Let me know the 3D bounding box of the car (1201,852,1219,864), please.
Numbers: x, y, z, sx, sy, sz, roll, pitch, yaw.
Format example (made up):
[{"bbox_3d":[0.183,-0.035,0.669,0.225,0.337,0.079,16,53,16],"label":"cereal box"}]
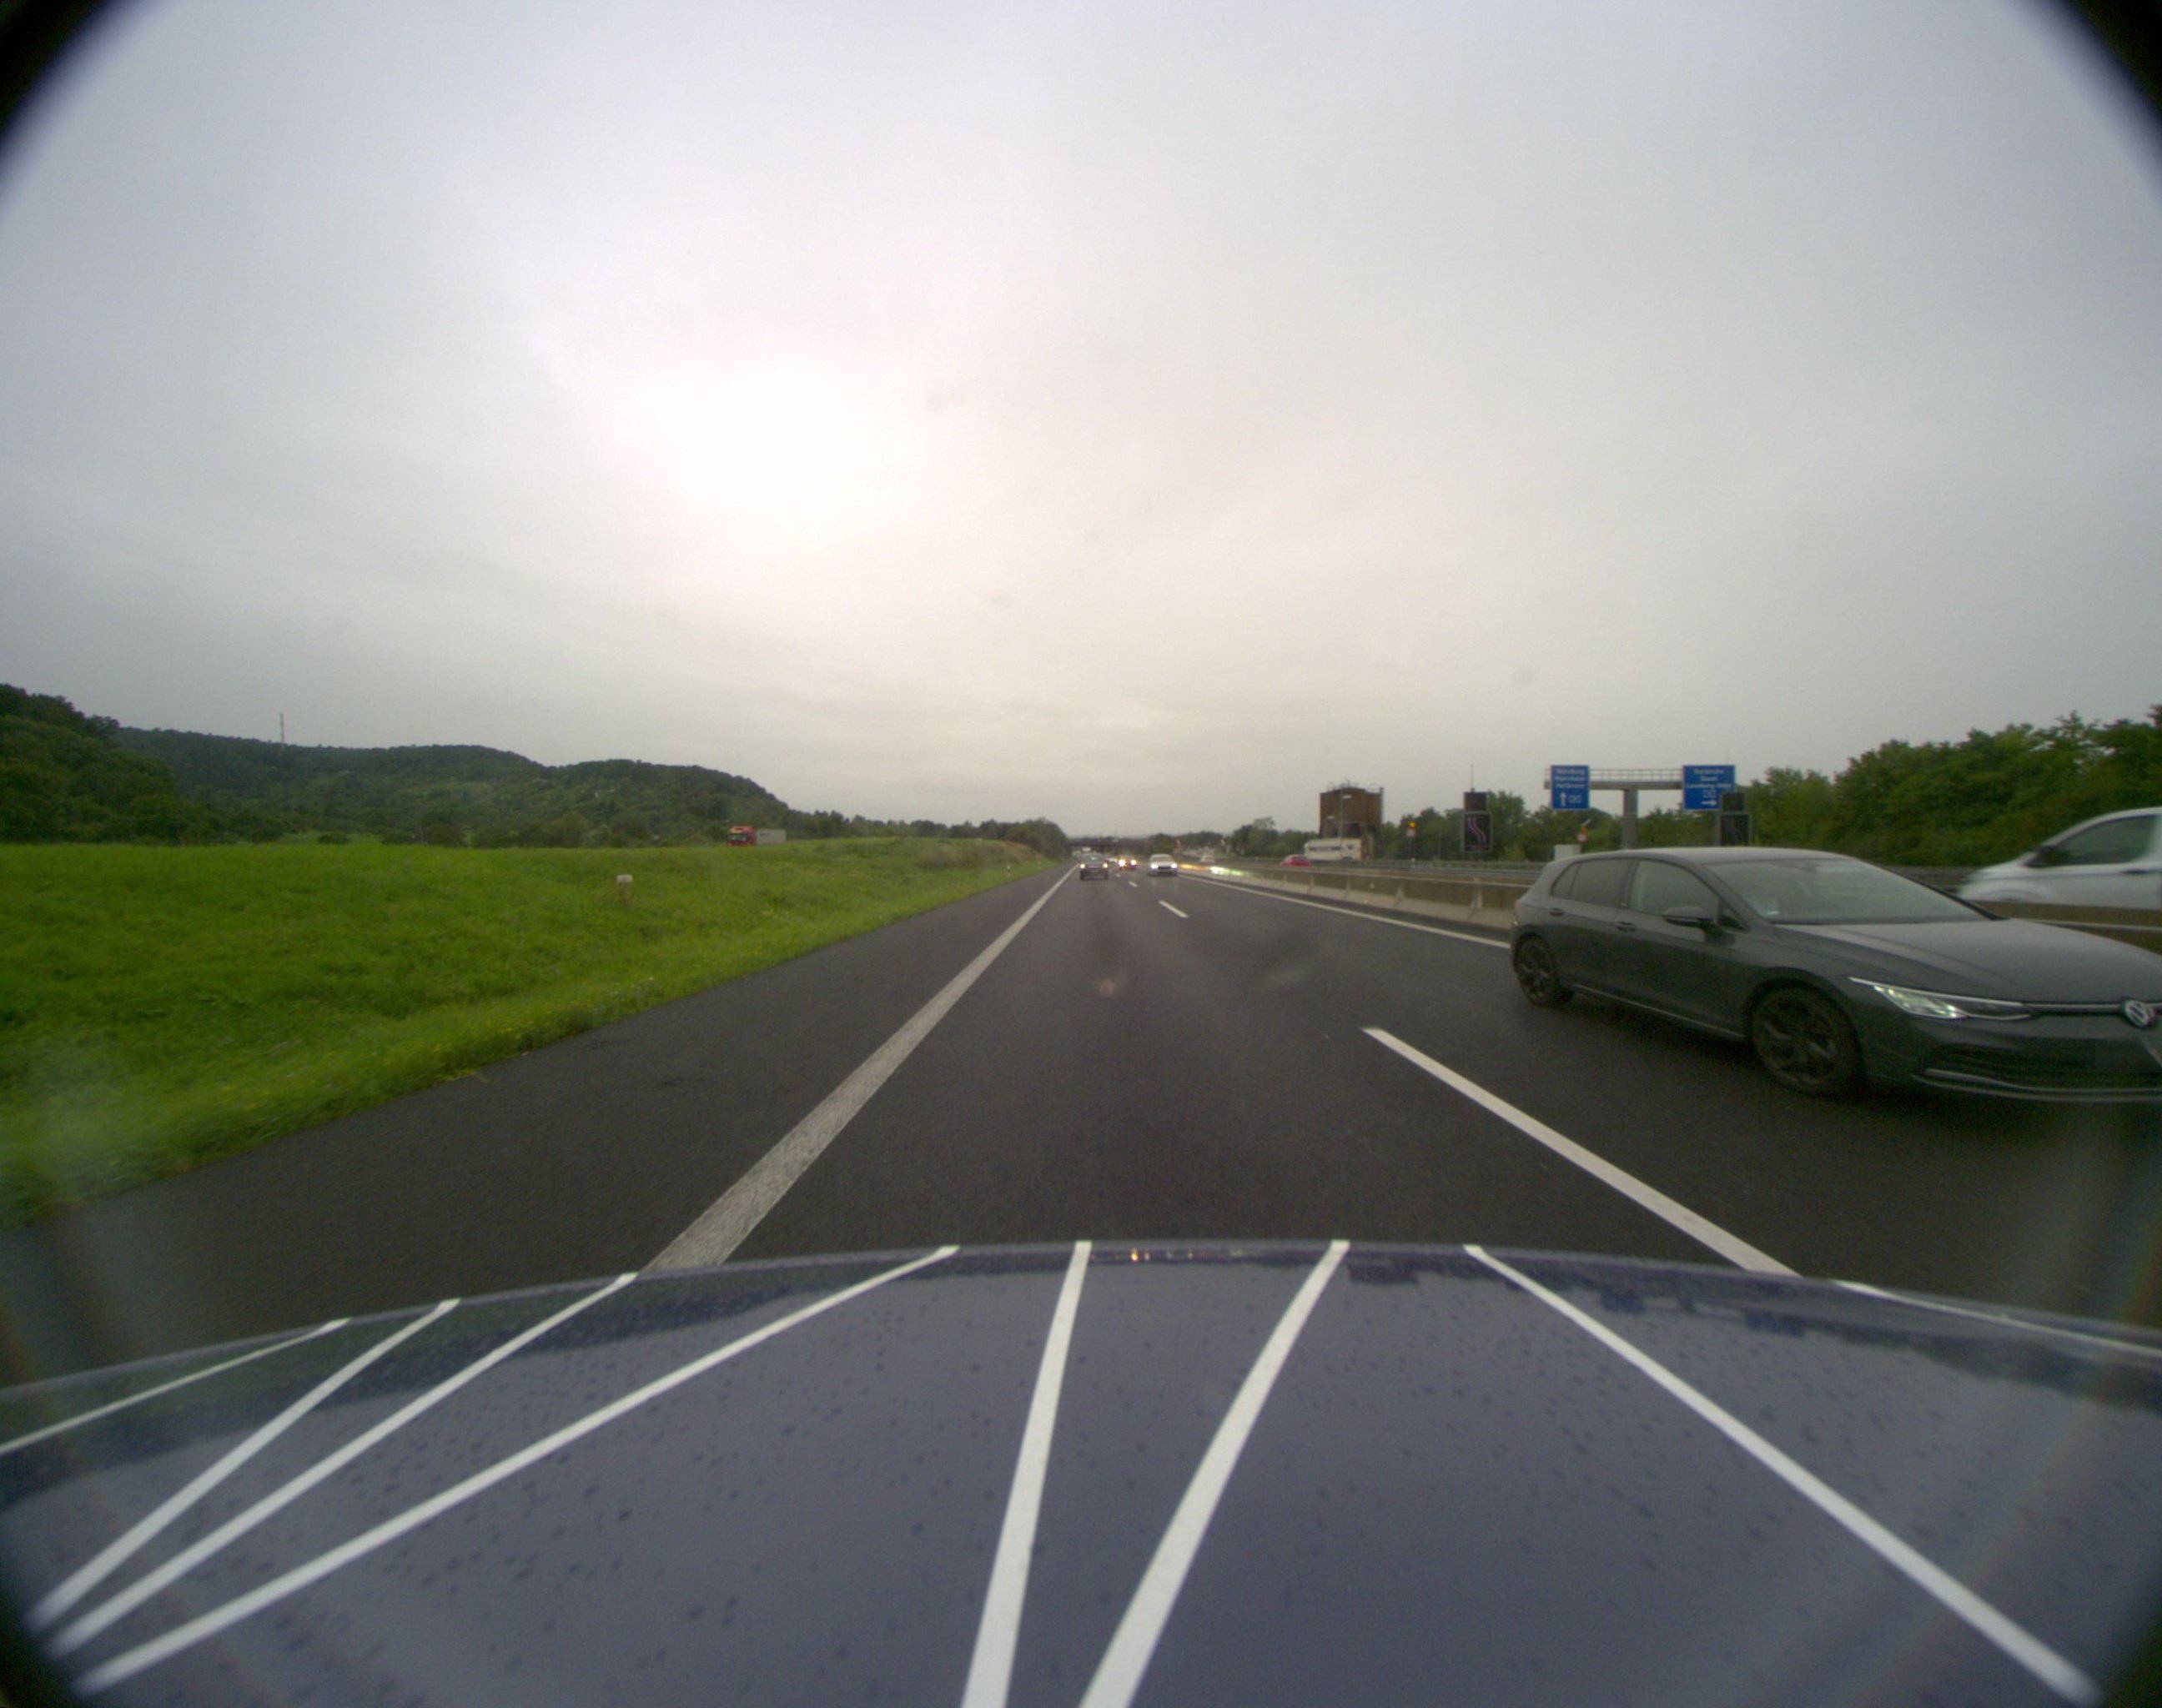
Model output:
[{"bbox_3d":[18.575,0.595,109.797,1.998,1.652,4.314,-1,0,3],"label":"car"}]

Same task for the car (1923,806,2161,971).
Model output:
[{"bbox_3d":[13.082,0.395,8.265,1.999,1.852,5.220,0,0,0],"label":"car"}]

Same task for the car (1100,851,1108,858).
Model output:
[{"bbox_3d":[5.552,0.124,183.554,1.998,1.565,4.000,-2,0,1],"label":"car"}]

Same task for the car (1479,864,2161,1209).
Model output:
[{"bbox_3d":[4.966,0.835,5.531,1.835,1.417,4.368,-2,0,0],"label":"car"}]

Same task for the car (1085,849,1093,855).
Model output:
[{"bbox_3d":[1.944,-0.469,179.938,1.942,1.341,4.000,-3,0,1],"label":"car"}]

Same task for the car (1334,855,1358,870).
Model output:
[{"bbox_3d":[30.028,0.946,86.268,1.575,1.475,4.048,-2,1,5],"label":"car"}]

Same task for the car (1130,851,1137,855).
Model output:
[{"bbox_3d":[15.419,-0.300,221.852,1.861,1.383,4.444,-1,0,1],"label":"car"}]

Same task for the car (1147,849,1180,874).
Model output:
[{"bbox_3d":[5.623,0.459,52.546,1.998,1.582,4.817,-2,0,3],"label":"car"}]

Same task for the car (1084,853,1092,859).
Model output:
[{"bbox_3d":[1.609,0.461,172.986,1.942,1.341,4.000,-3,0,1],"label":"car"}]

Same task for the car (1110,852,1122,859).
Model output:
[{"bbox_3d":[6.623,0.302,144.027,1.942,1.341,4.000,-4,0,1],"label":"car"}]

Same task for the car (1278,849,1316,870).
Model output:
[{"bbox_3d":[17.361,0.423,61.301,1.728,1.543,4.582,-2,0,0],"label":"car"}]

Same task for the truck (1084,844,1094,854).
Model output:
[{"bbox_3d":[2.400,-1.495,233.035,2.728,3.098,7.960,-3,0,1],"label":"truck"}]

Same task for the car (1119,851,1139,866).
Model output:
[{"bbox_3d":[4.866,0.446,77.219,1.835,1.417,4.368,-3,0,2],"label":"car"}]

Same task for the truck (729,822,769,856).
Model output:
[{"bbox_3d":[-41.353,-1.855,94.802,2.515,3.964,5.925,-2,1,-4],"label":"truck"}]

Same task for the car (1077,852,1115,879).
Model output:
[{"bbox_3d":[1.010,0.687,48.217,2.242,1.565,4.817,-2,0,2],"label":"car"}]

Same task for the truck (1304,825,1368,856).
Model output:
[{"bbox_3d":[34.147,-1.756,102.713,3.185,3.786,17.134,0,0,1],"label":"truck"}]

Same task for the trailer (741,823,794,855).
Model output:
[{"bbox_3d":[-41.772,-1.928,101.869,2.498,3.961,12.400,-2,1,-4],"label":"trailer"}]
